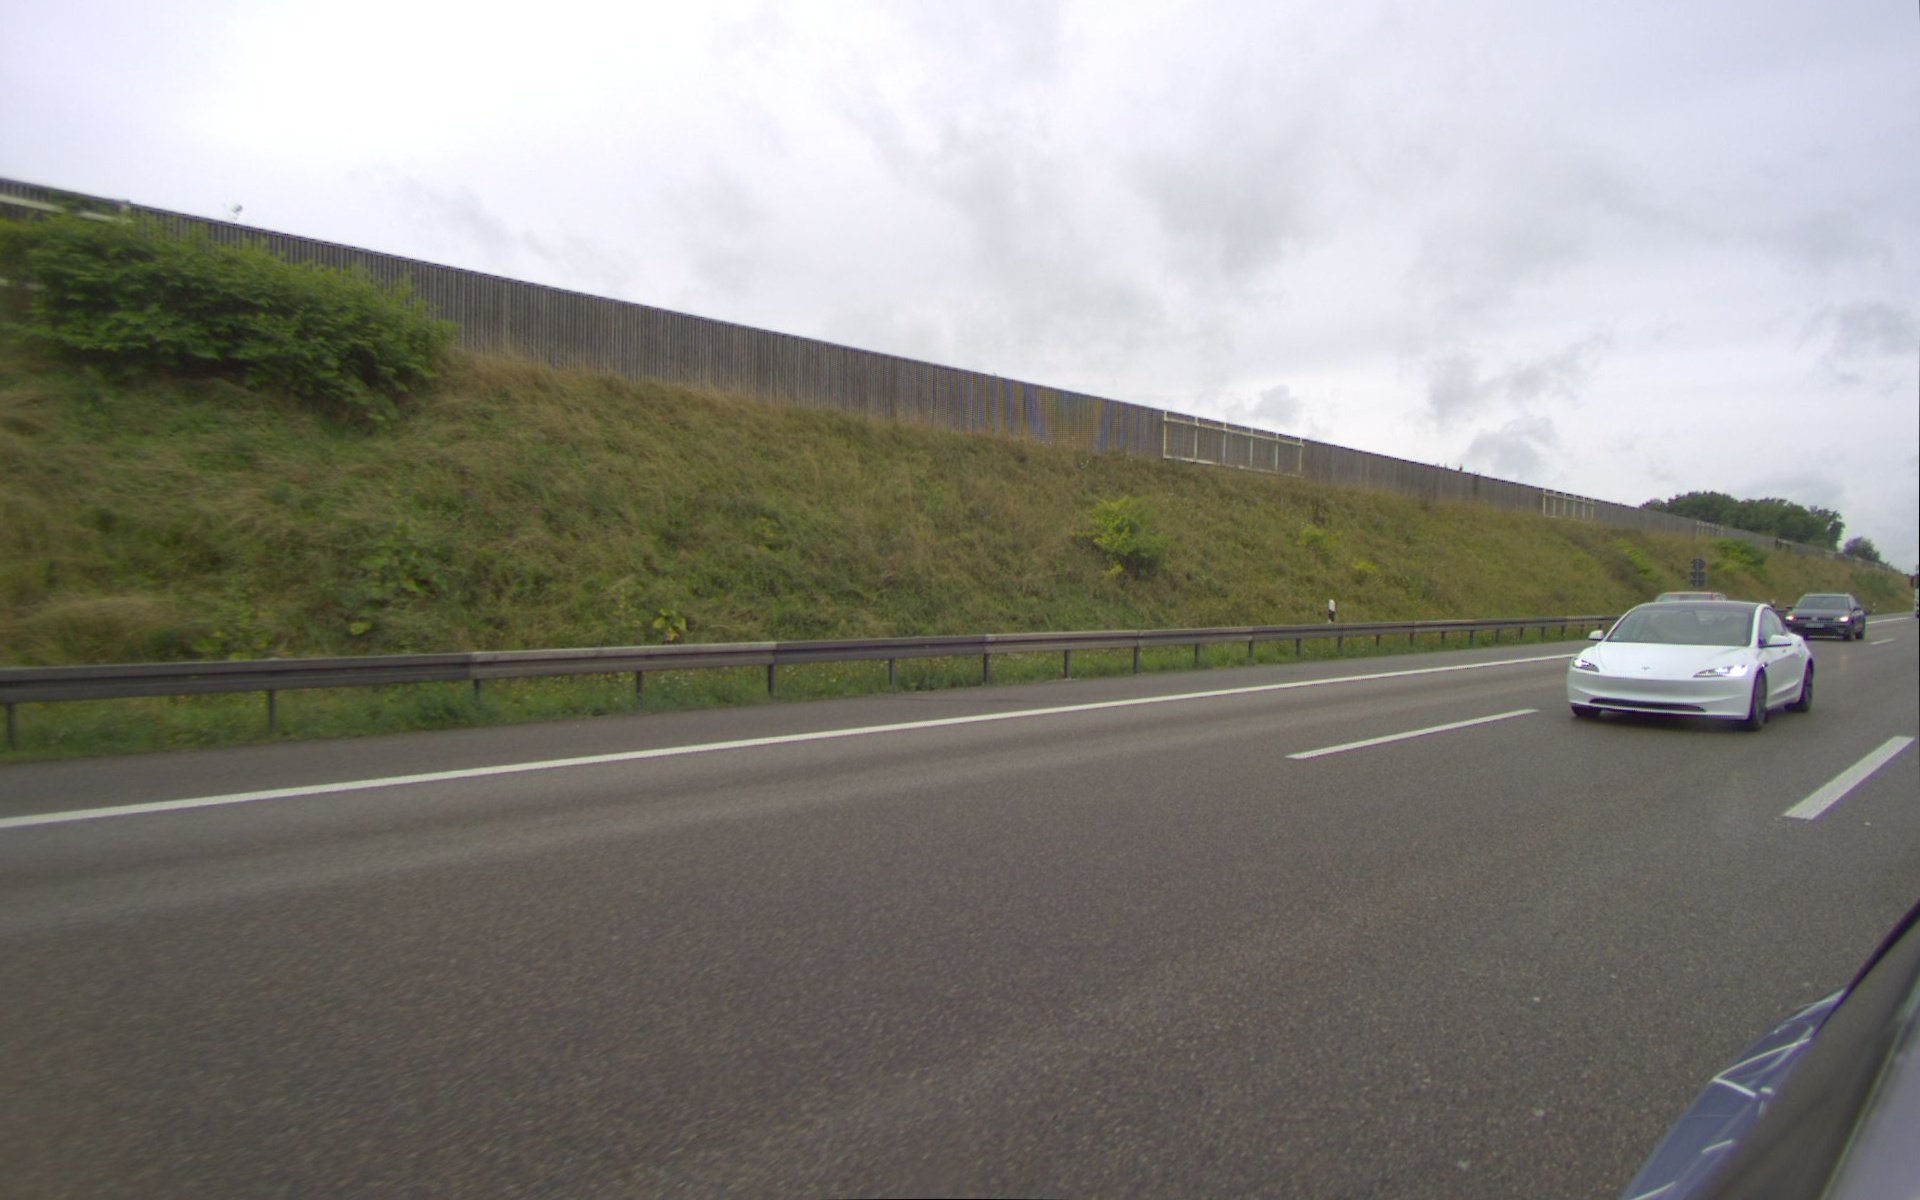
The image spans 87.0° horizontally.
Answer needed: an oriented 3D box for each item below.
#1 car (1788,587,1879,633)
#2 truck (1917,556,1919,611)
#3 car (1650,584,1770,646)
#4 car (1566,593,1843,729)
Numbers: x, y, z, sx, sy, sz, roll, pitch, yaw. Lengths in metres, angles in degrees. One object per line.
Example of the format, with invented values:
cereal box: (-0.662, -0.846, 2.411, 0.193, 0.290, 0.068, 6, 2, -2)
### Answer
car: (31.095, 0.310, 35.972, 4.409, 1.507, 1.927, -1, 1, -42)
truck: (74.142, -1.253, 75.802, 6.839, 4.077, 3.085, -1, 0, -43)
car: (20.369, 0.348, 27.447, 3.932, 1.554, 1.876, -1, 1, -42)
car: (9.539, 0.621, 12.808, 4.730, 1.380, 1.876, -1, 1, -42)
